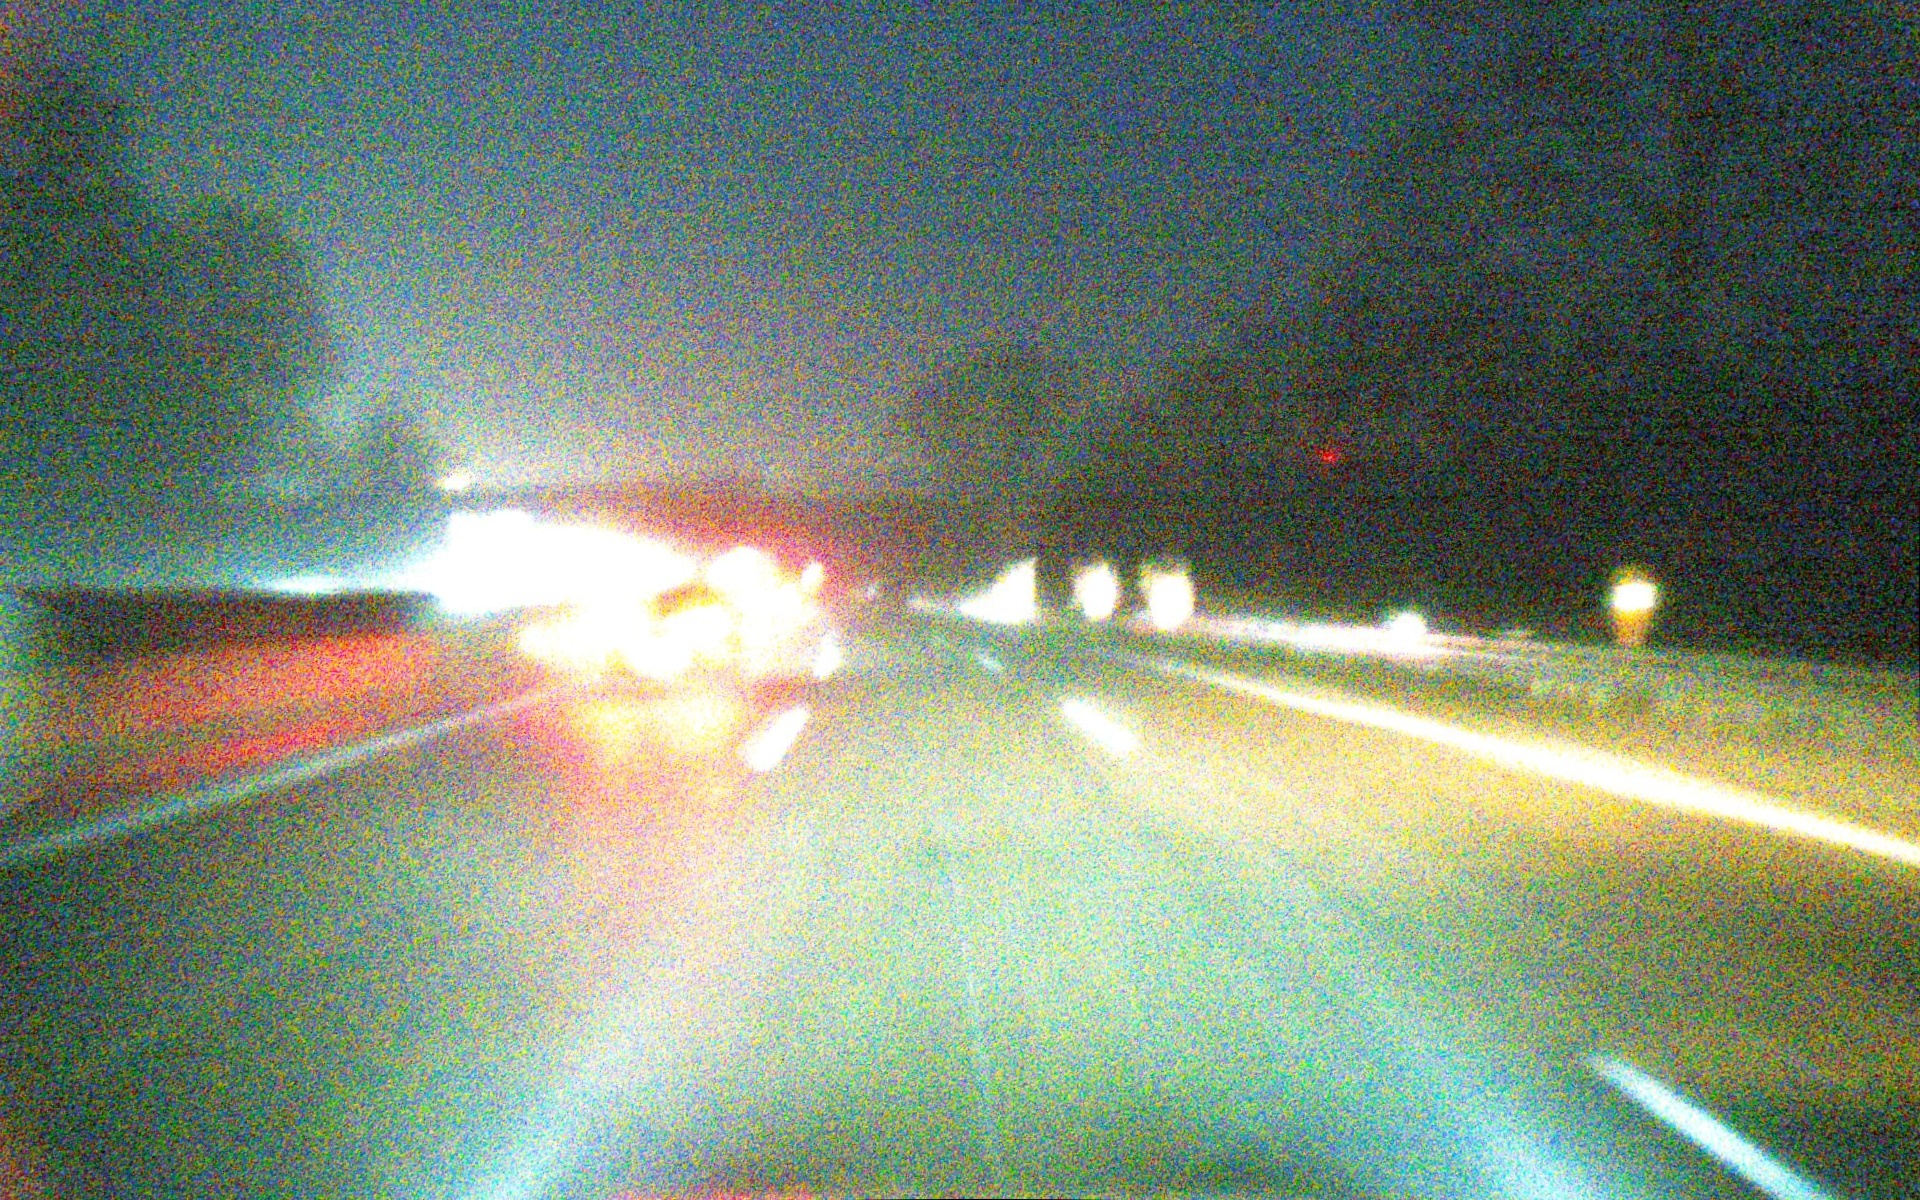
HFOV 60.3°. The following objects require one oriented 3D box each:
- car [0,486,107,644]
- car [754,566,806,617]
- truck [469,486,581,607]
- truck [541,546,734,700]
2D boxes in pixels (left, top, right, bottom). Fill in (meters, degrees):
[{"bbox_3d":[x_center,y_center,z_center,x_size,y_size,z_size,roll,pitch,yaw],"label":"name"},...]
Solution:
[{"bbox_3d":[-16.154,-0.625,25.831,2.373,2.438,6.418,4,2,-2],"label":"car"},{"bbox_3d":[-8.163,-0.403,75.271,1.954,2.048,3.998,4,2,-3],"label":"car"},{"bbox_3d":[-21.435,-2.653,82.222,2.475,5.402,11.787,4,2,-2],"label":"truck"},{"bbox_3d":[-5.021,0.334,26.759,2.102,2.114,6.599,-2,0,-3],"label":"truck"}]
